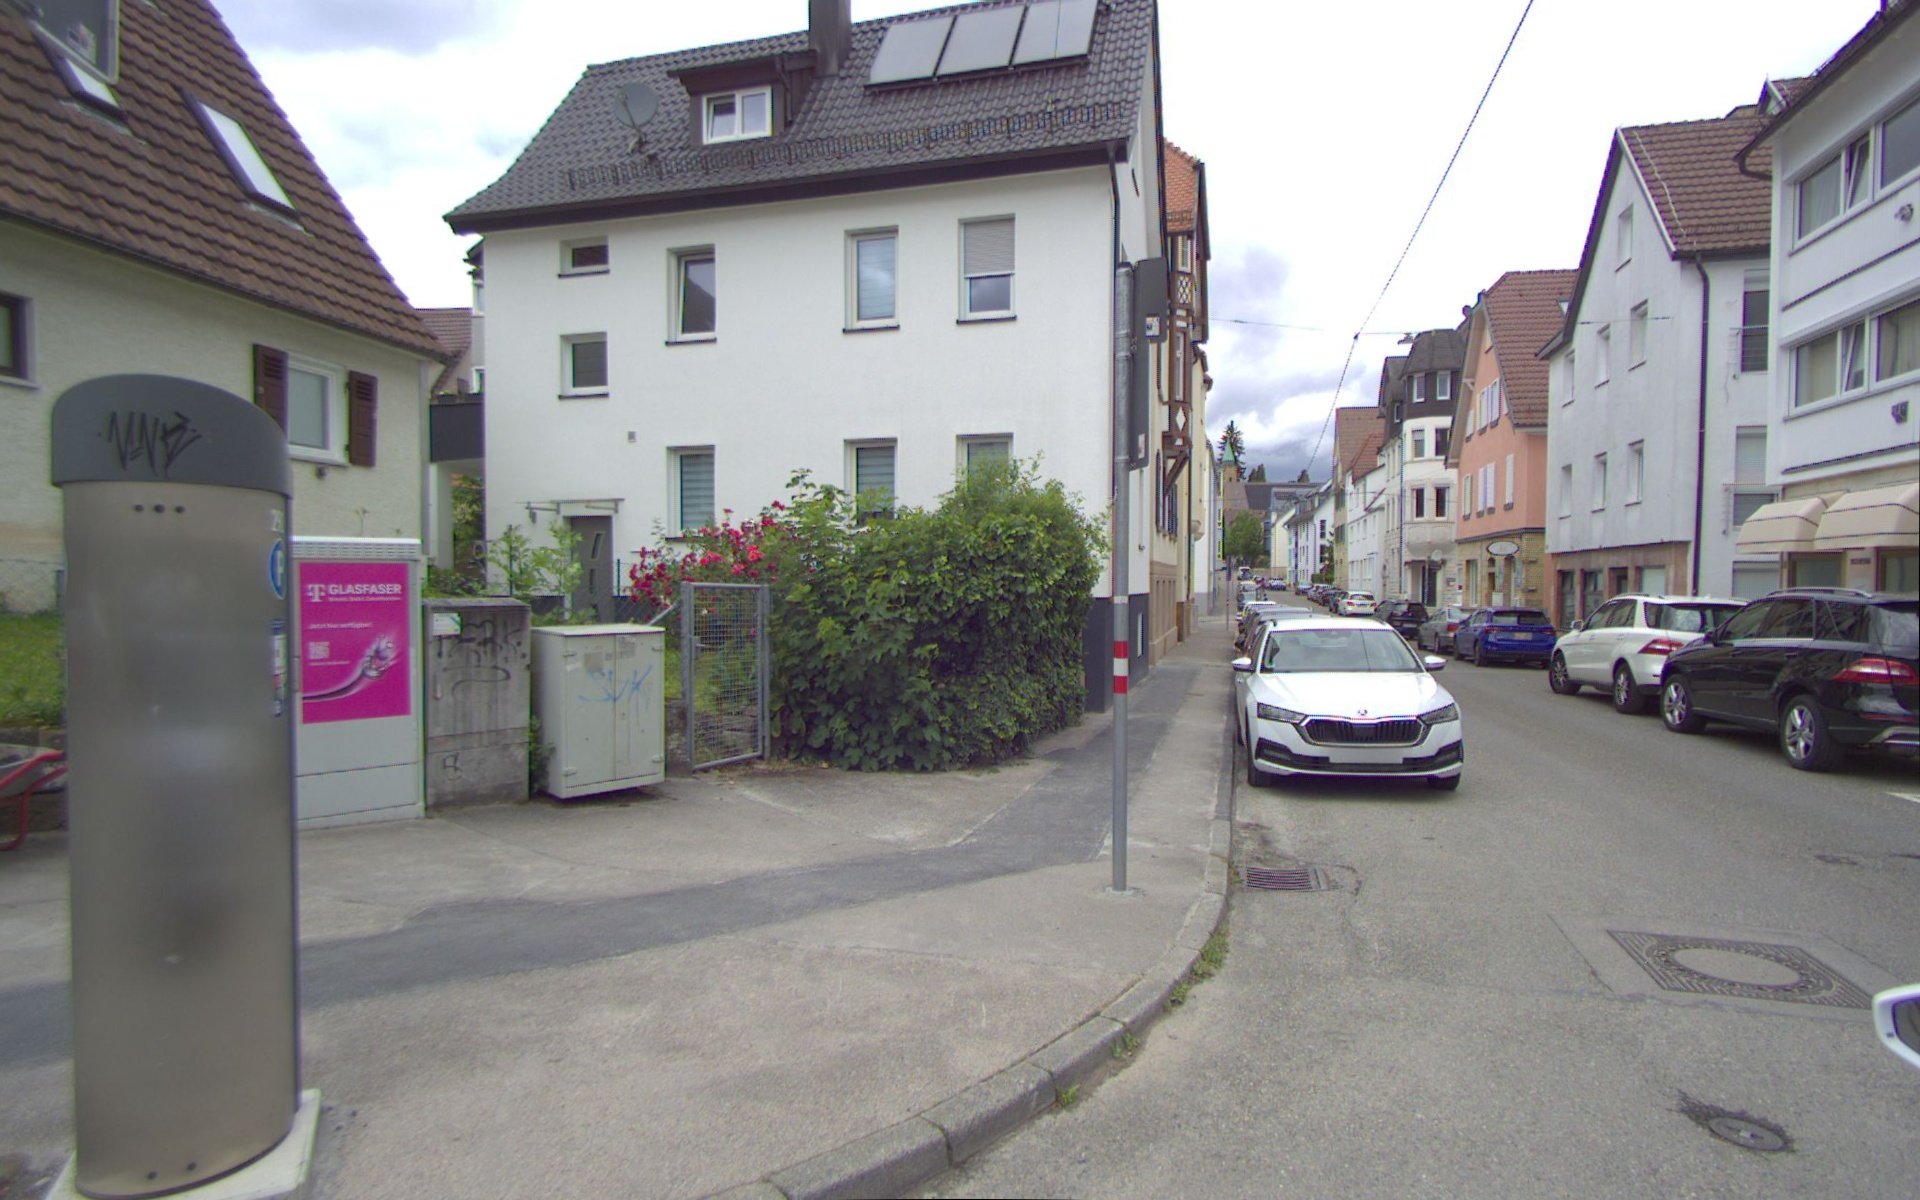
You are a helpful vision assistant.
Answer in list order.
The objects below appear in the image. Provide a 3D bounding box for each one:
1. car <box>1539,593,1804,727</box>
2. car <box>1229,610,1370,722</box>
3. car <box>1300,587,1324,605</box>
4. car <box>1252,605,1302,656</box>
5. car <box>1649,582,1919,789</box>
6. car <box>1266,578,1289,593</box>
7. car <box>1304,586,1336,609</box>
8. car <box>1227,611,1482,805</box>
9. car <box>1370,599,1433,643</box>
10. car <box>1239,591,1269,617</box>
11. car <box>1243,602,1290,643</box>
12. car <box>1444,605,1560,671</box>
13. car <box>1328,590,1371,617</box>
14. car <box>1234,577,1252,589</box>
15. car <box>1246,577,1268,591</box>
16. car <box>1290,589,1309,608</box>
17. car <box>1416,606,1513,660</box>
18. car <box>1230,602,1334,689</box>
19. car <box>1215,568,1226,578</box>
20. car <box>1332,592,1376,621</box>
[{"bbox_3d":[10.811,0.780,15.710,1.901,1.735,4.378,1,1,14],"label":"car"},{"bbox_3d":[5.057,0.916,15.426,1.739,1.436,4.173,-1,0,15],"label":"car"},{"bbox_3d":[27.987,-0.350,79.811,1.384,1.324,2.903,1,3,12],"label":"car"},{"bbox_3d":[9.475,0.873,30.175,1.261,1.377,3.806,-1,0,15],"label":"car"},{"bbox_3d":[9.407,0.789,10.802,1.908,1.803,4.371,2,0,15],"label":"car"},{"bbox_3d":[36.826,-1.702,116.628,1.729,1.689,4.001,3,2,7],"label":"car"},{"bbox_3d":[26.787,-0.222,74.775,1.698,1.596,3.835,1,2,12],"label":"car"},{"bbox_3d":[3.684,0.885,10.118,1.762,1.480,4.298,-1,0,13],"label":"car"},{"bbox_3d":[17.768,0.817,40.573,1.683,1.570,3.803,3,1,14],"label":"car"},{"bbox_3d":[18.177,0.214,62.189,1.646,1.484,4.001,2,2,15],"label":"car"},{"bbox_3d":[11.362,0.806,37.431,1.559,1.441,3.402,-1,0,15],"label":"car"},{"bbox_3d":[13.501,0.882,25.245,1.744,1.495,3.783,1,0,15],"label":"car"},{"bbox_3d":[25.180,0.197,65.035,1.921,1.595,4.002,1,1,11],"label":"car"},{"bbox_3d":[40.607,-2.432,144.301,1.857,1.626,3.716,3,2,6],"label":"car"},{"bbox_3d":[37.809,-2.021,127.883,1.857,1.668,3.975,3,3,6],"label":"car"},{"bbox_3d":[33.064,-0.125,97.876,1.552,1.782,3.212,1,-1,16],"label":"car"},{"bbox_3d":[14.989,0.929,30.069,1.719,1.409,4.033,1,0,14],"label":"car"},{"bbox_3d":[6.315,0.837,19.994,1.739,1.515,3.983,-2,-1,16],"label":"car"},{"bbox_3d":[50.444,-5.257,194.555,1.790,1.950,3.751,3,3,10],"label":"car"},{"bbox_3d":[23.459,0.345,59.883,1.736,1.546,3.904,1,2,11],"label":"car"}]
